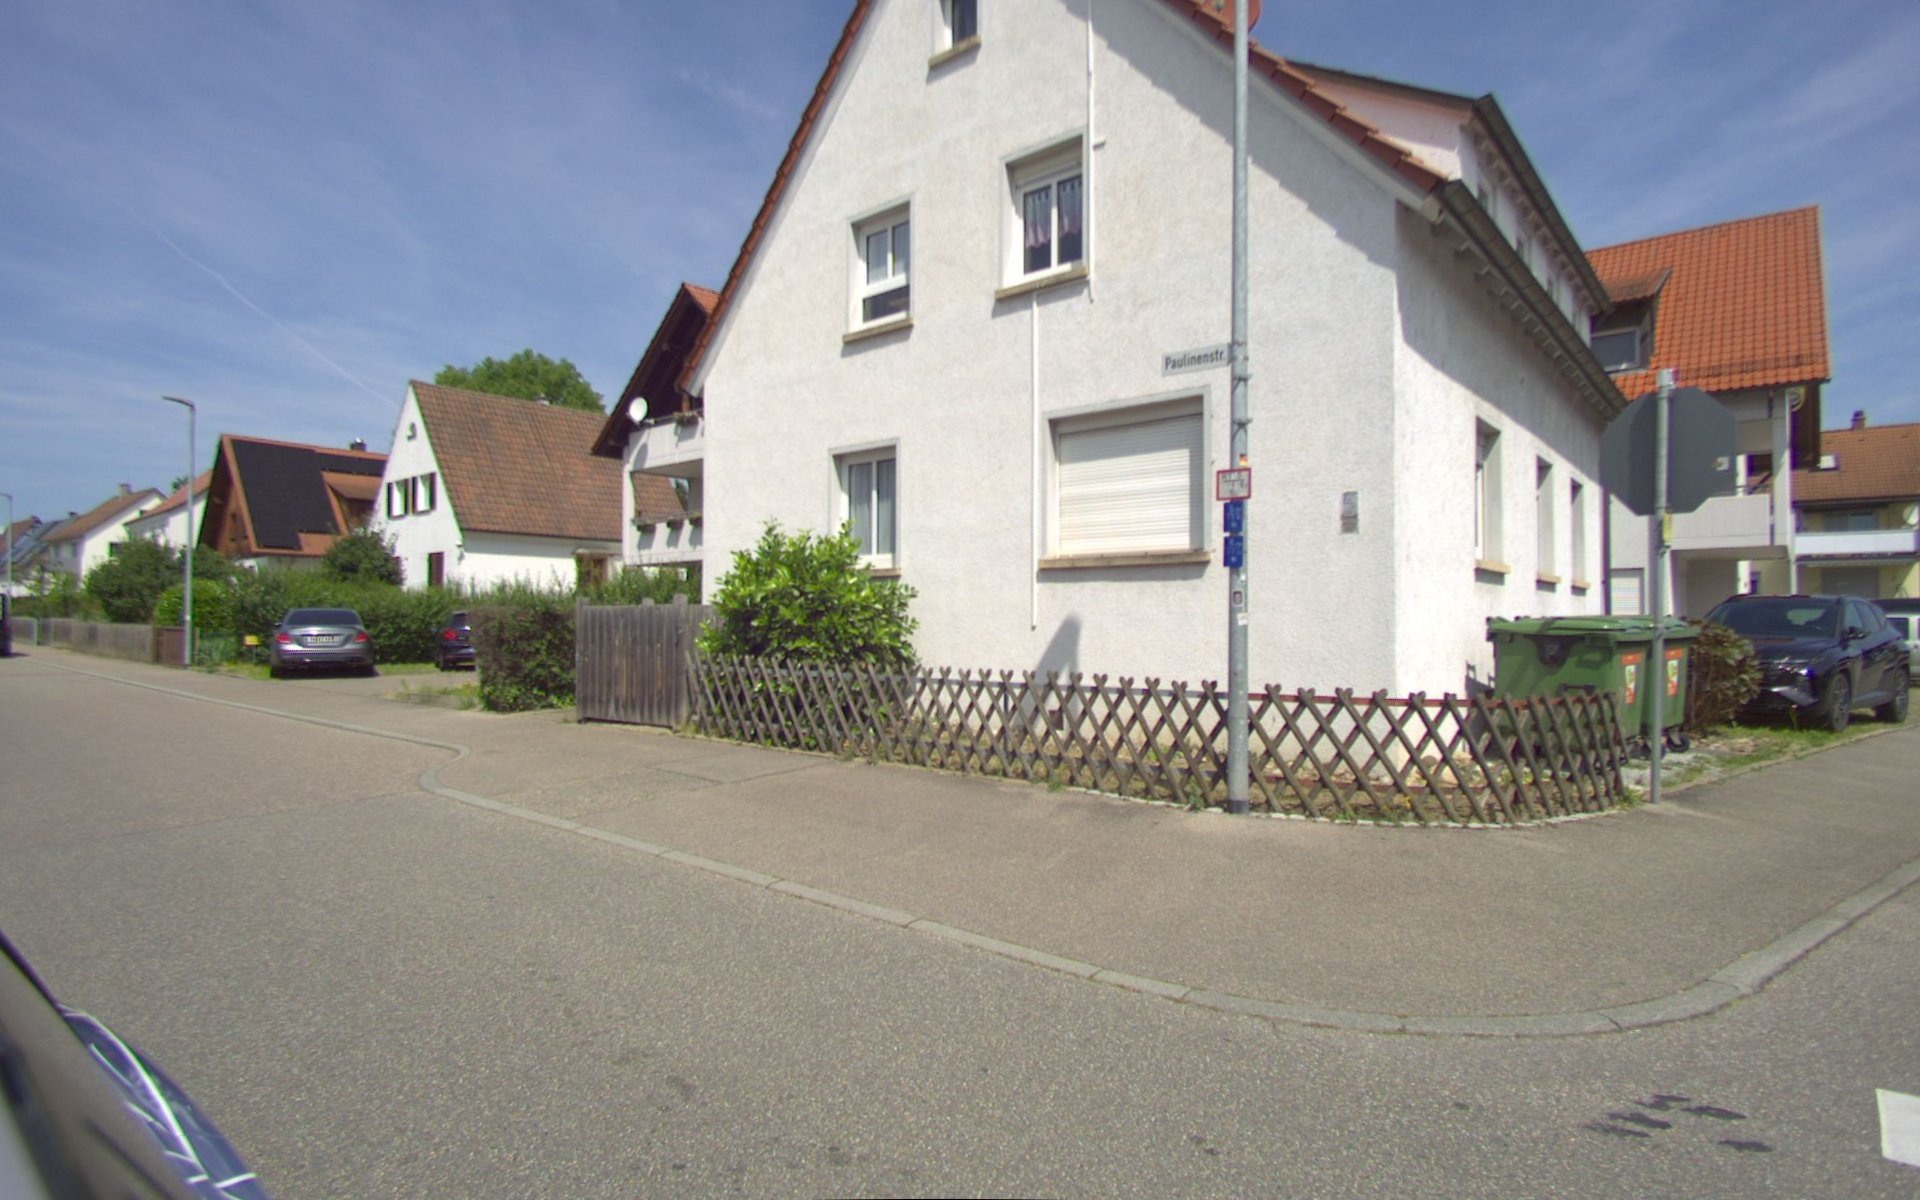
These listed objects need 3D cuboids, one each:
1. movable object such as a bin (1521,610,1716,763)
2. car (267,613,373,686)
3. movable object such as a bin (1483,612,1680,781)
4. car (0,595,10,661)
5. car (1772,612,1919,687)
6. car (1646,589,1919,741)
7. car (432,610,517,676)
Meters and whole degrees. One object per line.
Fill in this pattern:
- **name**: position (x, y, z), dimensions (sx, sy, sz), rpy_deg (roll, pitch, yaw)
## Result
- **movable object such as a bin**: position (6.438, 0.777, 9.900), dimensions (1.247, 1.346, 1.314), rpy_deg (0, 0, -41)
- **car**: position (-14.138, 1.002, 22.321), dimensions (1.802, 1.443, 4.575), rpy_deg (1, -1, -33)
- **movable object such as a bin**: position (5.491, 0.782, 8.943), dimensions (1.247, 1.323, 1.168), rpy_deg (0, 0, -41)
- **car**: position (-30.841, 0.856, 31.060), dimensions (4.693, 1.966, 1.948), rpy_deg (-1, -1, 41)
- **car**: position (18.083, 0.948, 19.802), dimensions (3.376, 1.409, 1.311), rpy_deg (-1, -2, 41)
- **car**: position (10.663, 0.717, 12.775), dimensions (4.206, 1.558, 1.796), rpy_deg (1, 2, -34)
- **car**: position (-12.011, 1.001, 24.945), dimensions (1.665, 1.513, 3.663), rpy_deg (0, -1, -29)
